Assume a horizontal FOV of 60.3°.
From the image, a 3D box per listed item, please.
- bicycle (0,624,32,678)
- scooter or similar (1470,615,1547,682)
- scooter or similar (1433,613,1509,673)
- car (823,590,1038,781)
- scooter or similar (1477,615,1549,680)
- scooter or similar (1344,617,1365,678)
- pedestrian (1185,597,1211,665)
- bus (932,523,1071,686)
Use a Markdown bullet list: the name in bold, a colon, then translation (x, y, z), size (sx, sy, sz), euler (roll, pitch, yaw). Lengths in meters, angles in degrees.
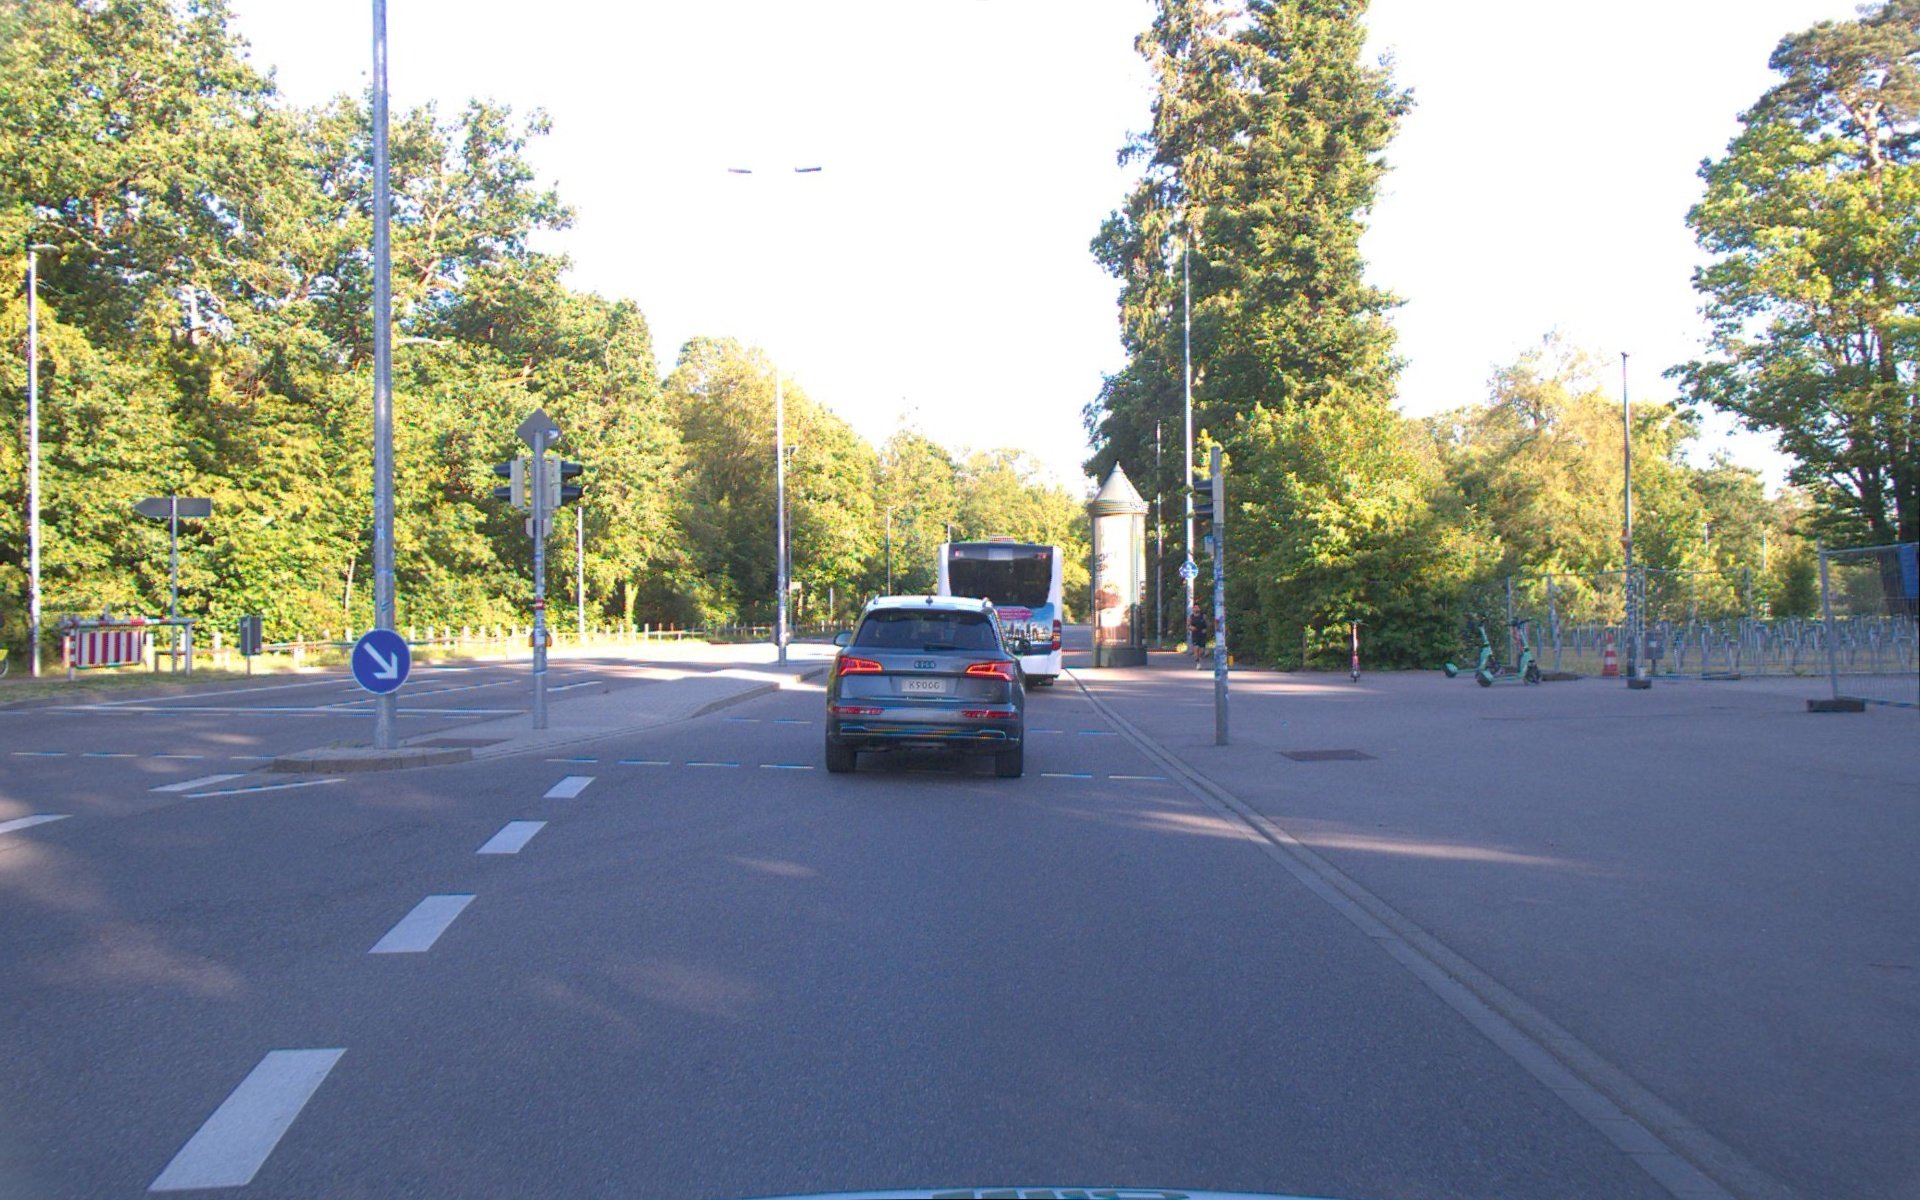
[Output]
- **bicycle**: translation (-21.809, 1.160, 36.916), size (0.665, 1.174, 1.985), euler (1, 1, 18)
- **scooter or similar**: translation (10.057, 0.888, 30.334), size (1.238, 1.167, 0.394), euler (-2, -2, 8)
- **scooter or similar**: translation (10.480, 0.894, 33.911), size (1.411, 1.187, 0.393), euler (-2, -2, 30)
- **car**: translation (-0.267, 0.762, 16.764), size (1.854, 1.633, 4.544), euler (1, 0, 0)
- **scooter or similar**: translation (10.330, 0.889, 30.903), size (1.220, 1.187, 0.394), euler (-2, -2, 25)
- **scooter or similar**: translation (8.031, 0.946, 33.700), size (0.275, 1.192, 1.410), euler (-2, 0, 9)
- **pedestrian**: translation (6.085, 0.795, 42.252), size (0.612, 1.718, 0.883), euler (1, -1, 10)
- **bus**: translation (0.773, 0.159, 37.940), size (2.634, 3.096, 12.039), euler (1, -1, 0)
